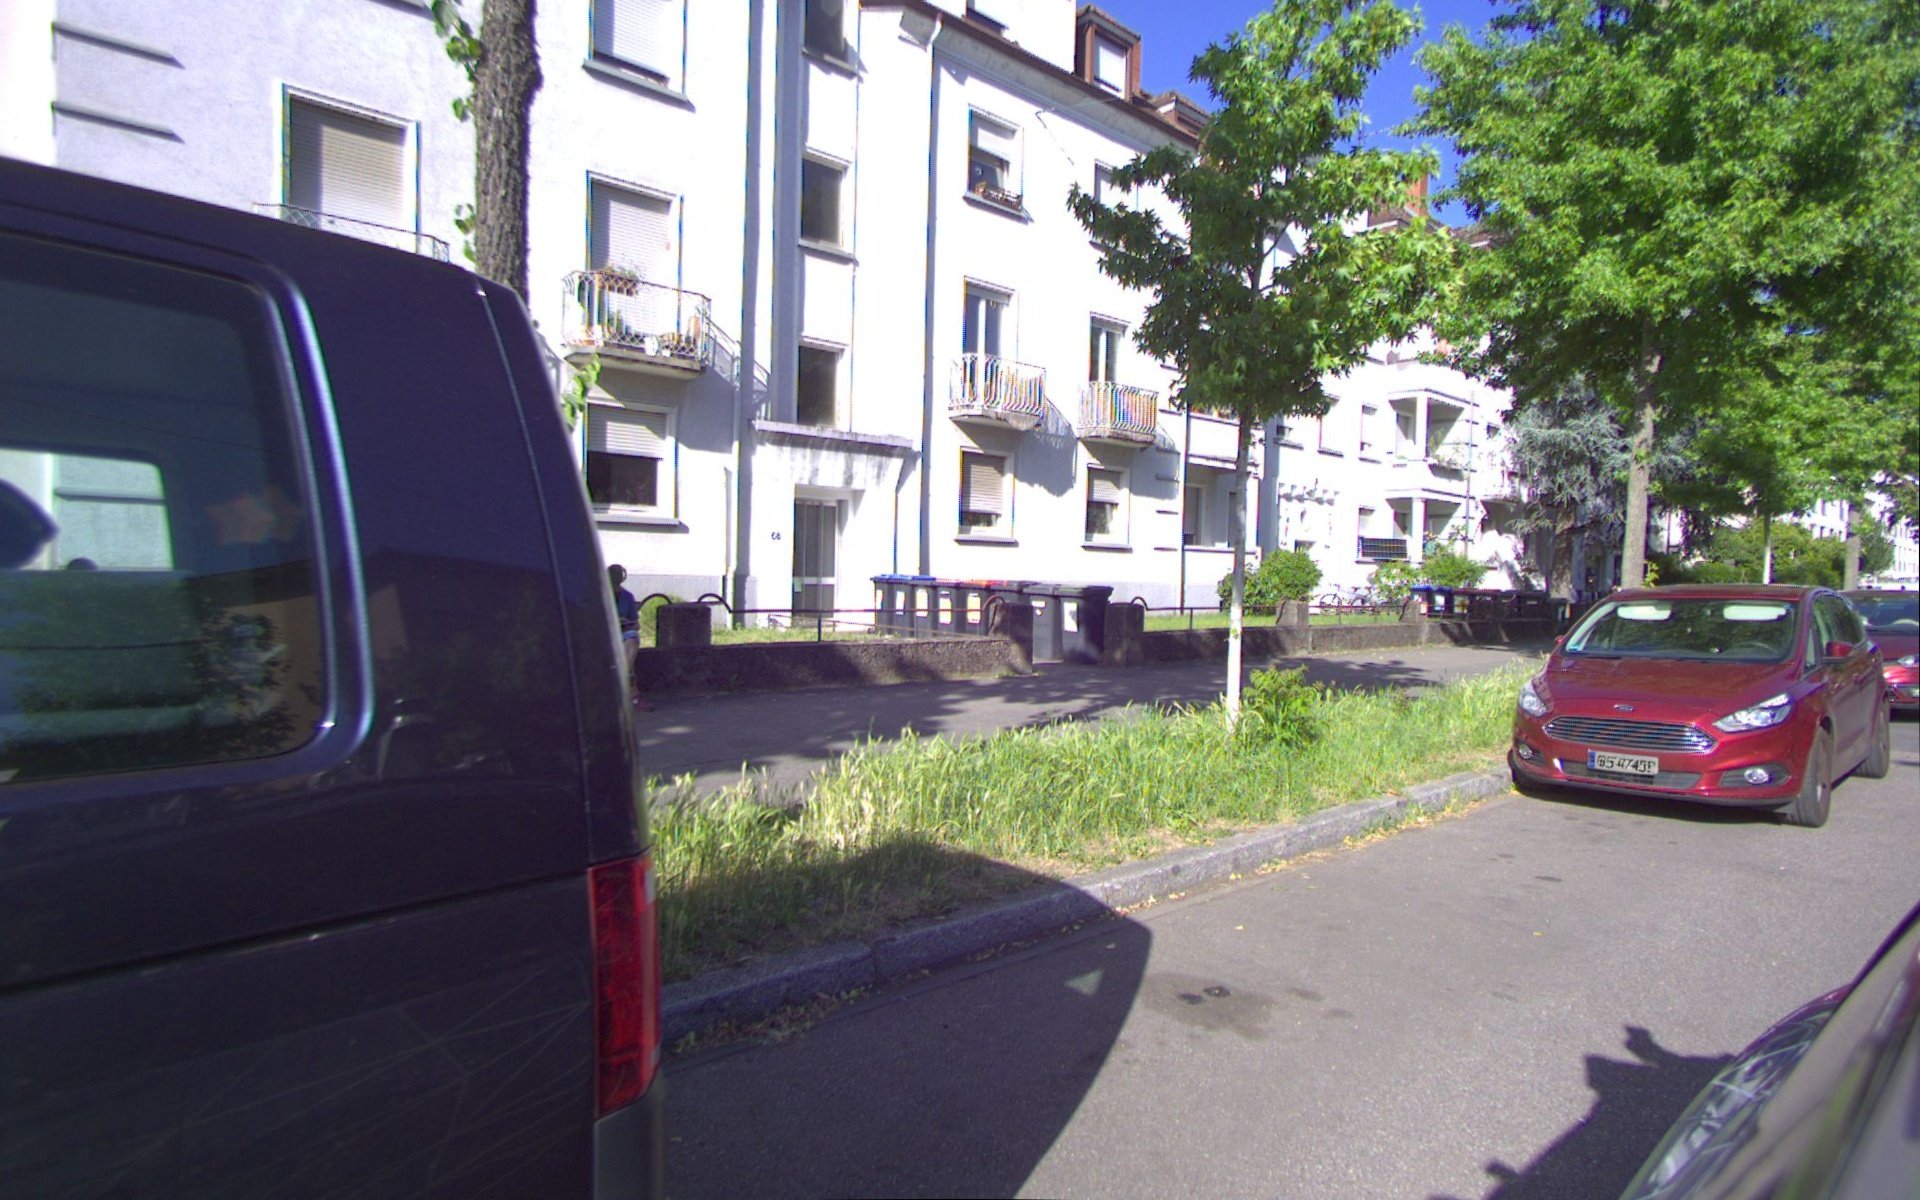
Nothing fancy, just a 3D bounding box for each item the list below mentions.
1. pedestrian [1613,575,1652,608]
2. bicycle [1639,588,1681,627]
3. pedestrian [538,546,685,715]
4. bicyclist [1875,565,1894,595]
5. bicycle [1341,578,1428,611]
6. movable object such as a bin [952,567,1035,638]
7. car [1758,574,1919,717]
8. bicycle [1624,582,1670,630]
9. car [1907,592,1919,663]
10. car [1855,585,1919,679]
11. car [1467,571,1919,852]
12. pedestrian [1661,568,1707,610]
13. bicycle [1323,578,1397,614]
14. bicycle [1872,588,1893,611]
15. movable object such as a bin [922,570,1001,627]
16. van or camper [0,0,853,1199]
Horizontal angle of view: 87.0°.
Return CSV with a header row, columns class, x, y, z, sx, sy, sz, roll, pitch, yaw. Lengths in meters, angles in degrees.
class,x,y,z,sx,sy,sz,roll,pitch,yaw
pedestrian,23.676,-0.299,35.624,1.033,1.157,0.705,0,1,44
bicycle,19.953,0.207,28.829,2.211,1.025,0.432,-1,-3,-43
pedestrian,-2.940,0.224,8.508,0.805,1.312,1.083,-2,1,-41
bicyclist,42.324,-0.931,46.350,0.706,1.354,0.497,-1,4,-40
bicycle,11.201,-0.139,26.767,0.615,0.779,2.064,-1,-1,-39
movable object such as a bin,0.512,0.029,15.398,0.991,1.039,0.778,-1,1,-36
car,12.645,0.500,13.729,4.513,1.586,1.935,-1,5,-40
bicycle,18.094,0.141,26.639,2.138,1.212,0.490,-1,1,-41
car,21.413,0.542,21.299,3.631,1.415,1.767,-1,1,-40
car,17.003,0.505,17.437,4.412,1.424,1.715,-1,4,-40
car,6.189,0.588,8.205,4.884,1.633,1.903,-1,2,-40
pedestrian,24.690,-0.388,34.529,1.021,1.395,0.713,2,2,15
bicycle,11.764,-0.131,29.852,0.548,0.929,2.037,-1,4,-35
bicycle,42.306,-0.037,46.399,1.756,0.973,0.459,-1,4,-41
movable object such as a bin,0.025,-0.036,16.095,0.991,0.873,0.778,-1,1,-35
van or camper,-2.780,0.450,0.309,5.293,1.886,1.993,-1,1,-41
